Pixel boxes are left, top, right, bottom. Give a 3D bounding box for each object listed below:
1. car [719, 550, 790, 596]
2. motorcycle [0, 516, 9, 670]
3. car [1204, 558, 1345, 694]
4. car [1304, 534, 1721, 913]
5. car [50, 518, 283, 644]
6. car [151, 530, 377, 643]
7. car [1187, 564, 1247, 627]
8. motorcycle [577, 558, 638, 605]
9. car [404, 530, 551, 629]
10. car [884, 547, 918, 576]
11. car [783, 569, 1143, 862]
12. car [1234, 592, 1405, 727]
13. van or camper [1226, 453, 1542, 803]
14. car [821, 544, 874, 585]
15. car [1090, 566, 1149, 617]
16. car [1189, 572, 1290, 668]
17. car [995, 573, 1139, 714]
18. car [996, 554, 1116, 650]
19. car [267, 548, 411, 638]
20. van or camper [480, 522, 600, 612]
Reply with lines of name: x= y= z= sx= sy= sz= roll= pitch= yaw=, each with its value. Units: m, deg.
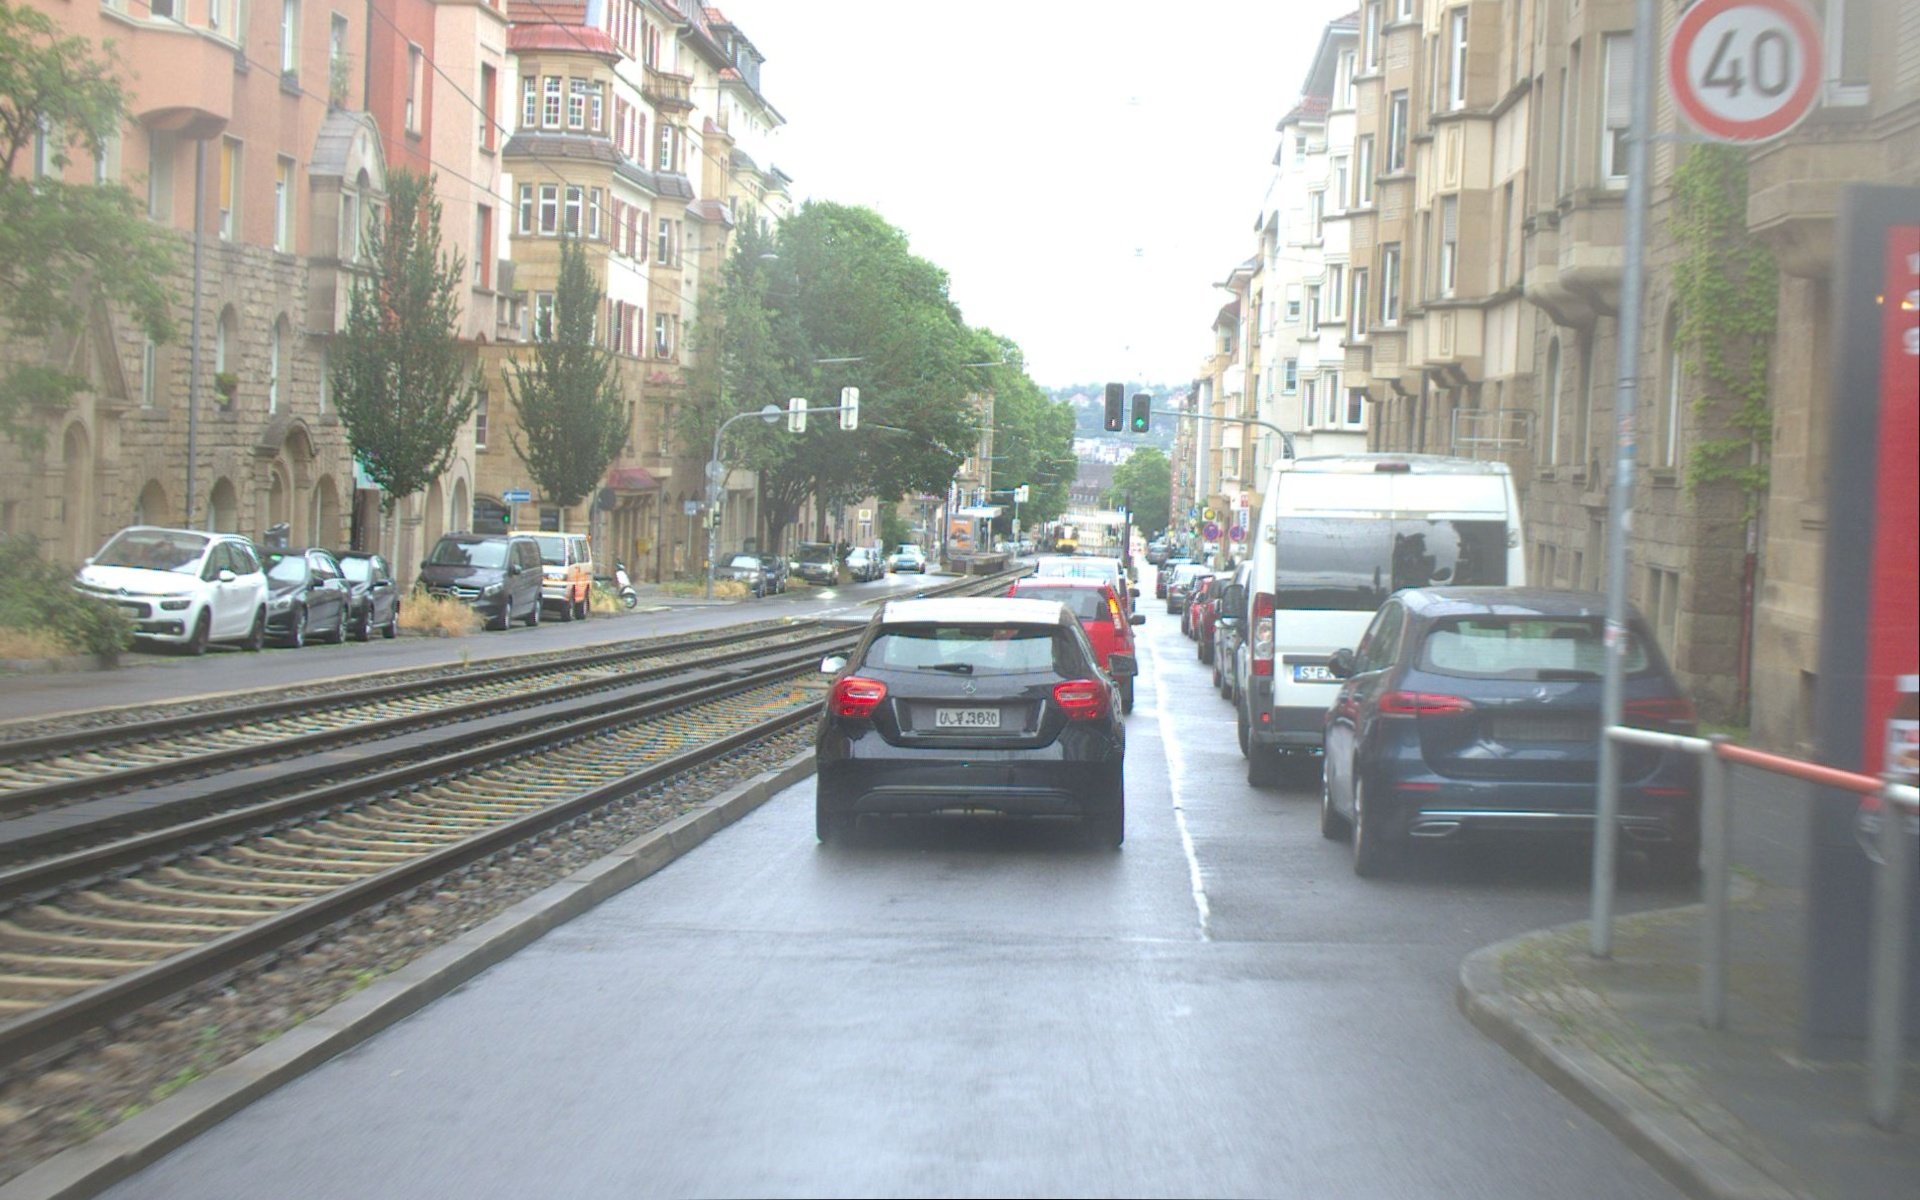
car: x=-7.246 y=-0.973 z=121.551 sx=1.994 sy=1.512 sz=4.000 roll=3 pitch=1 yaw=3
motorcycle: x=-11.367 y=-0.114 z=36.659 sx=2.258 sy=1.637 sz=1.293 roll=2 pitch=1 yaw=-14
car: x=4.379 y=0.326 z=48.405 sx=1.775 sy=1.770 sz=4.360 roll=2 pitch=1 yaw=3
car: x=2.977 y=0.599 z=19.401 sx=1.769 sy=1.802 sz=4.482 roll=3 pitch=0 yaw=3
car: x=-10.798 y=-0.262 z=47.107 sx=1.785 sy=1.584 sz=4.350 roll=2 pitch=1 yaw=5
car: x=-10.579 y=-0.213 z=52.634 sx=1.994 sy=1.504 sz=4.973 roll=4 pitch=1 yaw=5
car: x=8.718 y=-0.134 z=116.764 sx=1.899 sy=2.021 sz=4.175 roll=2 pitch=0 yaw=3
motorcycle: x=-9.023 y=-0.481 z=88.019 sx=1.439 sy=1.130 sz=0.619 roll=3 pitch=0 yaw=33
car: x=-9.748 y=-0.412 z=69.841 sx=1.994 sy=1.895 sz=4.698 roll=2 pitch=0 yaw=4
car: x=-3.302 y=-2.139 z=193.205 sx=1.795 sy=1.543 sz=4.000 roll=2 pitch=1 yaw=-1
car: x=0.077 y=0.641 z=20.848 sx=1.946 sy=1.559 sz=3.642 roll=2 pitch=0 yaw=2
car: x=4.086 y=0.645 z=39.511 sx=1.676 sy=1.406 sz=4.000 roll=1 pitch=1 yaw=2
van or camper: x=3.296 y=0.199 z=27.886 sx=2.064 sy=2.460 sz=6.118 roll=2 pitch=0 yaw=3
car: x=-5.204 y=-1.636 z=159.692 sx=1.994 sy=1.787 sz=4.000 roll=3 pitch=1 yaw=3
car: x=5.298 y=-0.264 z=114.044 sx=1.902 sy=1.588 sz=3.999 roll=2 pitch=0 yaw=3
car: x=5.140 y=0.339 z=63.157 sx=1.711 sy=1.623 sz=3.999 roll=3 pitch=1 yaw=5
car: x=1.311 y=0.502 z=40.776 sx=1.536 sy=1.505 sz=3.999 roll=3 pitch=0 yaw=3
car: x=1.743 y=0.008 z=63.378 sx=1.921 sy=1.649 sz=4.000 roll=2 pitch=1 yaw=-2
car: x=-10.448 y=-0.124 z=58.065 sx=1.642 sy=1.393 sz=3.884 roll=3 pitch=0 yaw=0
van or camper: x=-9.413 y=-0.747 z=77.377 sx=1.993 sy=1.895 sz=4.699 roll=2 pitch=1 yaw=1
